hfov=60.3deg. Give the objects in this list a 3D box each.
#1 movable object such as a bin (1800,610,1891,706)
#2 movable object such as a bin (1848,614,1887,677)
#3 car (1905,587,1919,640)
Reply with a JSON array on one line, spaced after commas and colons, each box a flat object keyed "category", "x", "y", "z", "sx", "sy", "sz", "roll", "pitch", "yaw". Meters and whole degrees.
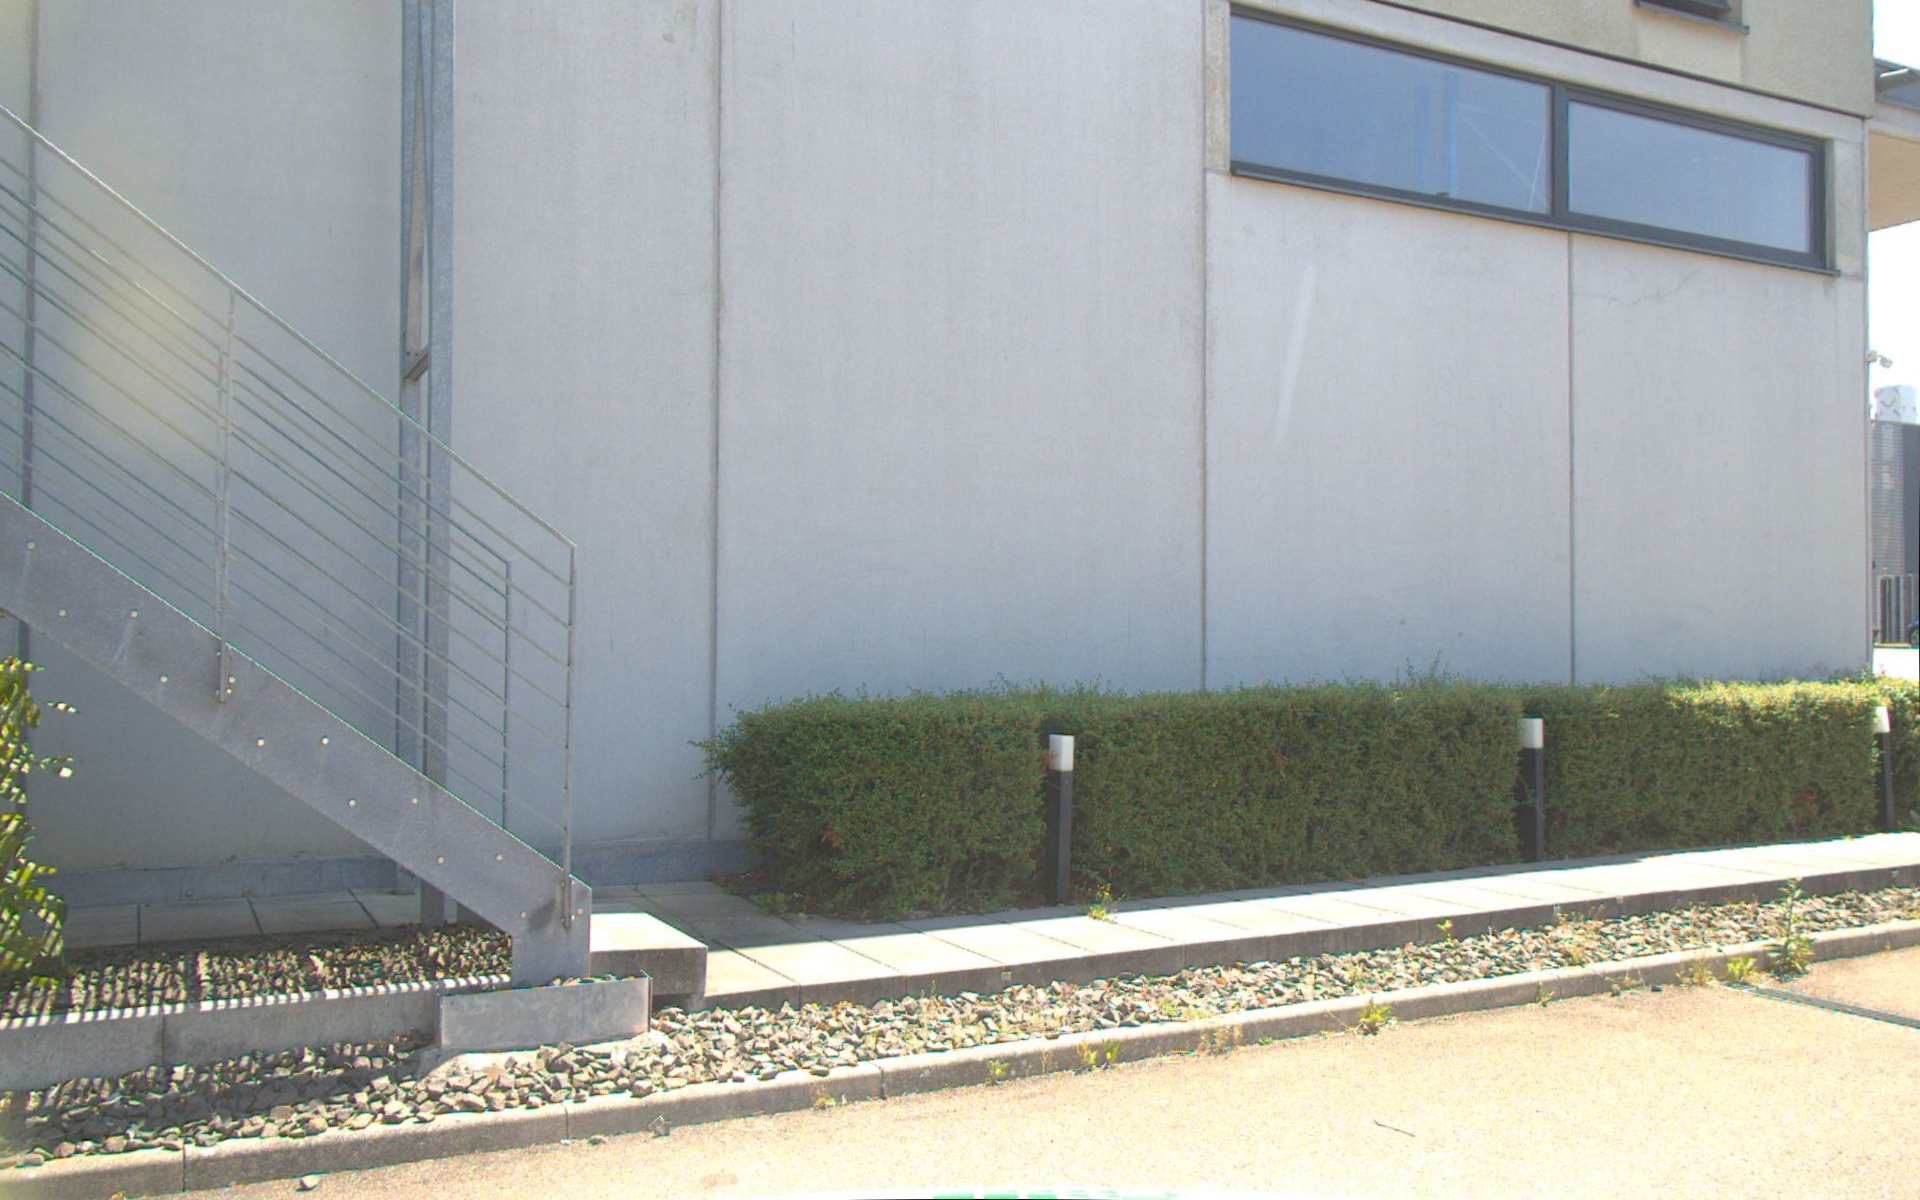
[{"category": "movable object such as a bin", "x": 12.877, "y": 0.828, "z": 24.057, "sx": 0.869, "sy": 1.368, "sz": 0.808, "roll": 0, "pitch": -1, "yaw": -22}, {"category": "movable object such as a bin", "x": 15.448, "y": 0.772, "z": 28.148, "sx": 0.566, "sy": 1.054, "sz": 0.425, "roll": 0, "pitch": -1, "yaw": 30}, {"category": "car", "x": 29.165, "y": 0.392, "z": 46.518, "sx": 1.959, "sy": 1.517, "sz": 4.499, "roll": -1, "pitch": 1, "yaw": -13}]
